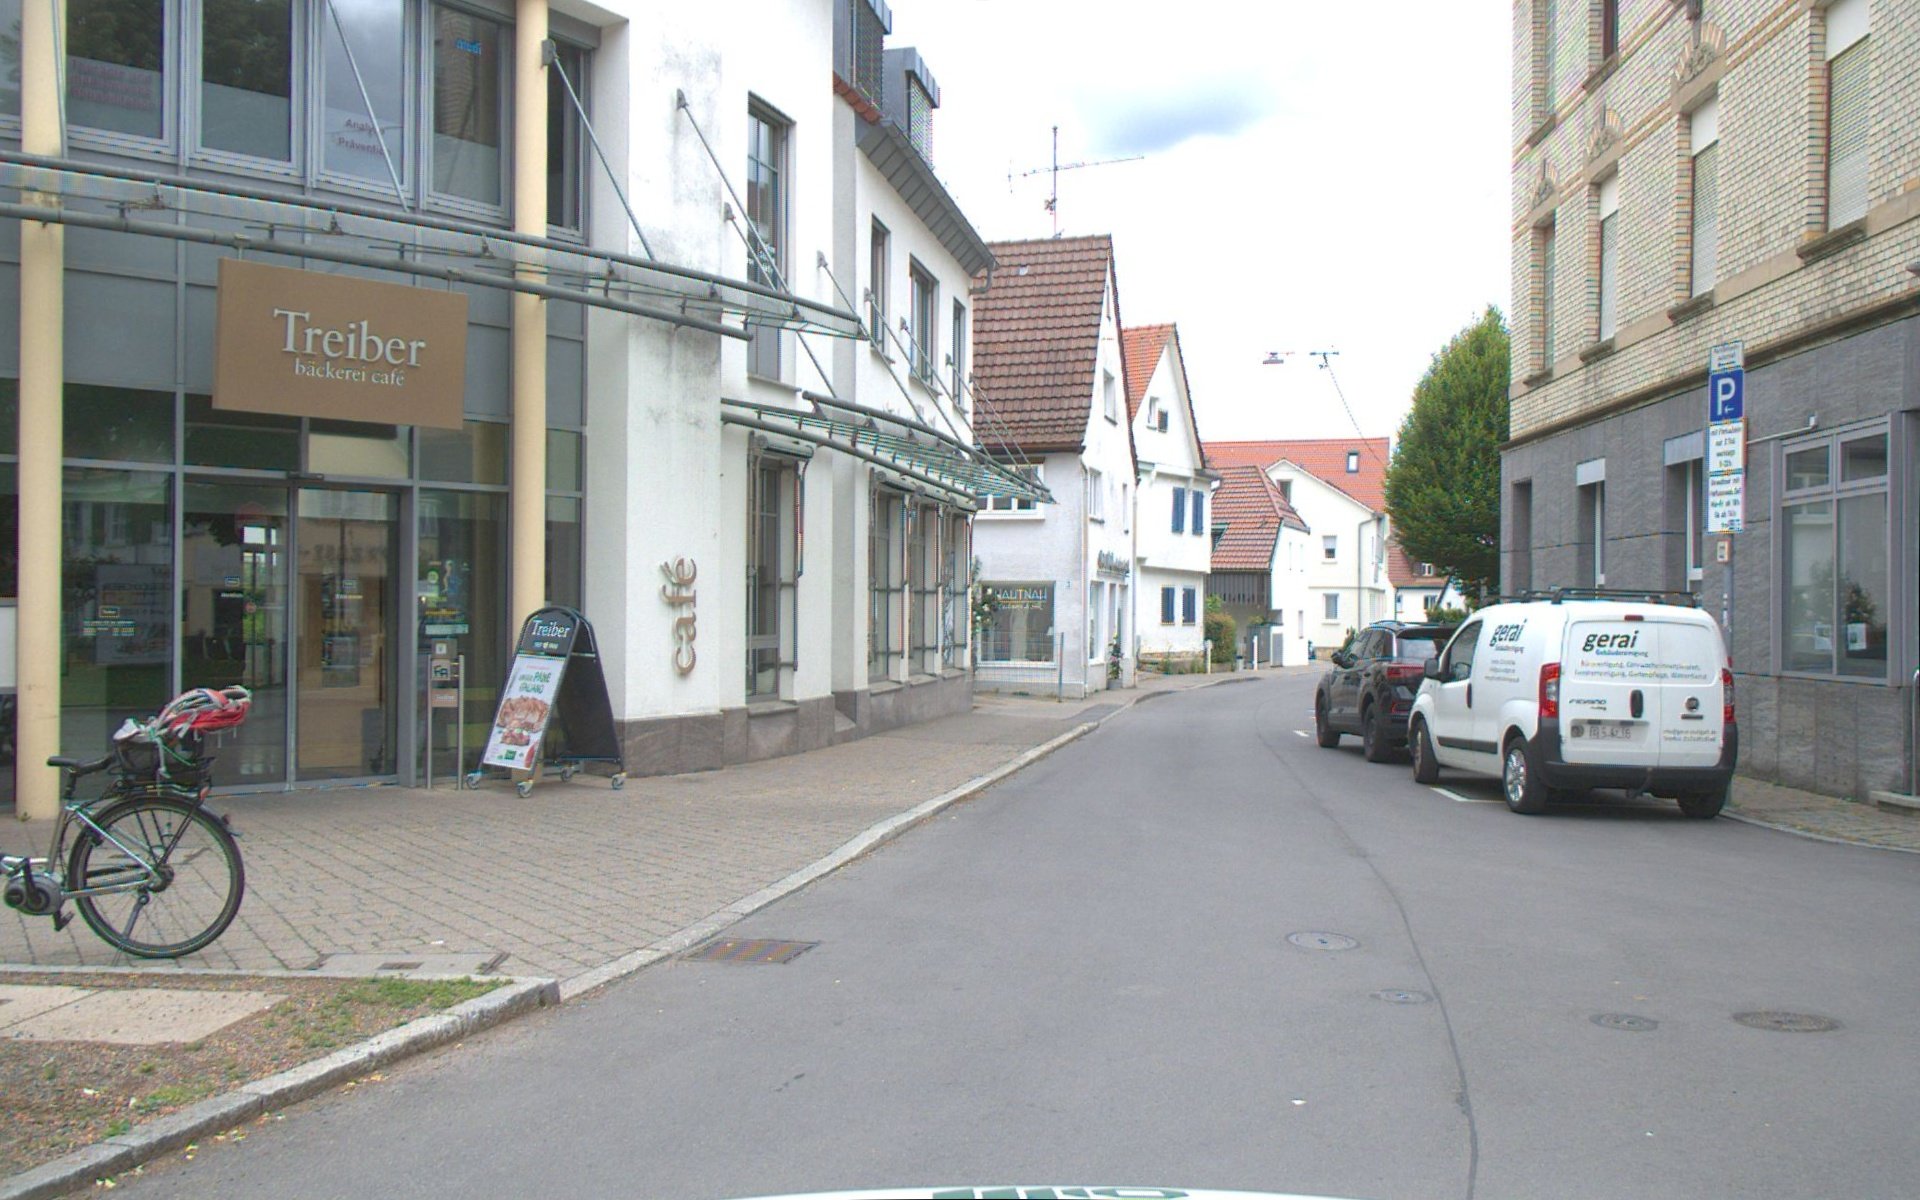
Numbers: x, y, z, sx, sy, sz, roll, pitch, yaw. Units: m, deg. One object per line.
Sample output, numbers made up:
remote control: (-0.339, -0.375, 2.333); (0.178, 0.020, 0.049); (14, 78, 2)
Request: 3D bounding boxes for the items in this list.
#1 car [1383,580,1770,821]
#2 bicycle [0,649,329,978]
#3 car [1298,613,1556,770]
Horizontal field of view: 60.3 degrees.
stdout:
car: (5.287, 0.783, 14.836); (1.789, 1.823, 4.217); (1, 0, -2)
bicycle: (-3.742, 0.855, 6.886); (1.936, 1.261, 0.743); (1, 0, -7)
car: (5.398, 1.002, 19.752); (1.751, 1.629, 4.541); (1, -1, -1)
